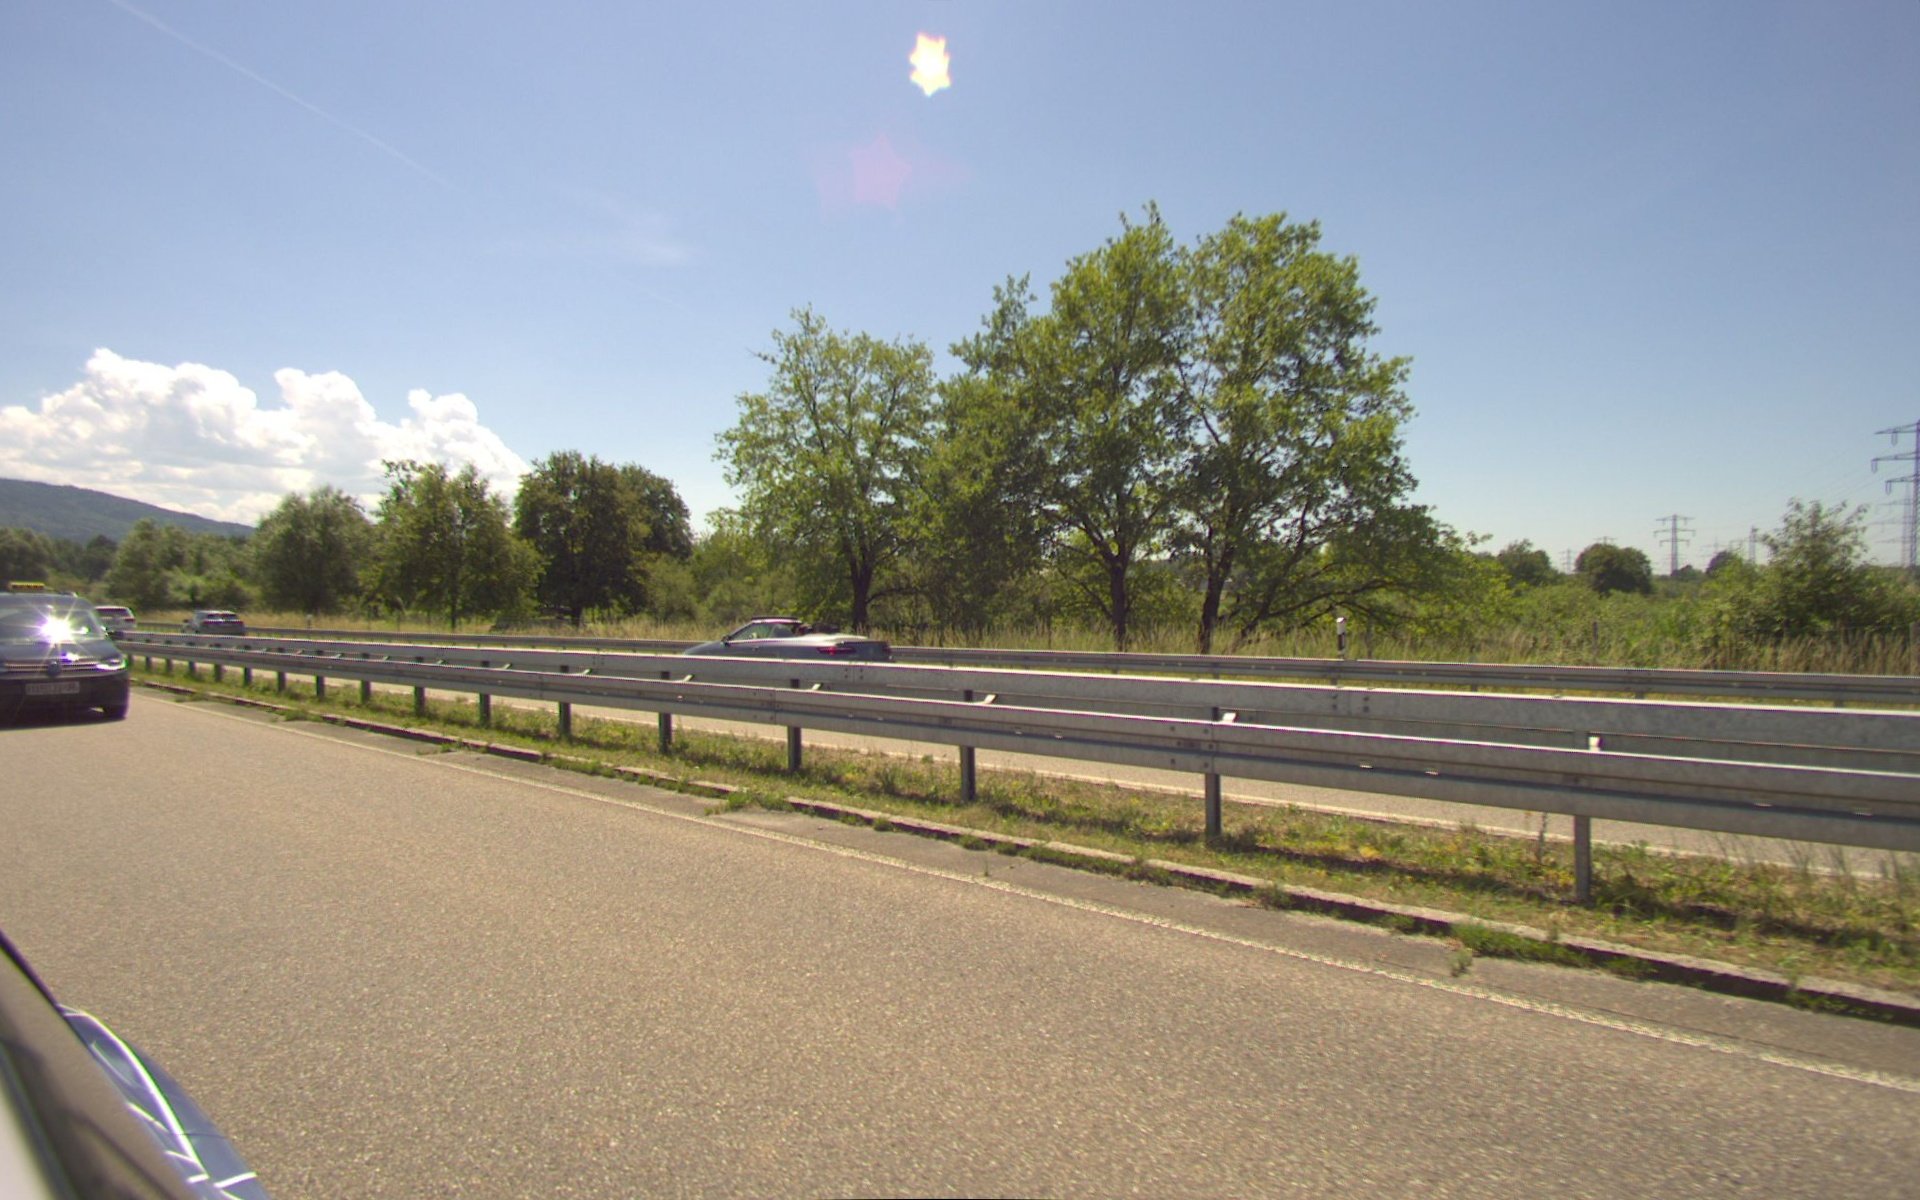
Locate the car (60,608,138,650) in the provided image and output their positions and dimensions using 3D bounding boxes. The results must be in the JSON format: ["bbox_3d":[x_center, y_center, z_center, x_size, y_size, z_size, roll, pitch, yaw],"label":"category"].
[{"bbox_3d":[-39.616,1.299,46.535,4.965,1.821,1.959,-1,-1,40],"label":"car"}]

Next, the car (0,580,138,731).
[{"bbox_3d":[-13.987,0.743,14.904,5.567,1.901,1.836,-1,-1,39],"label":"car"}]

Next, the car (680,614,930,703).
[{"bbox_3d":[-2.876,0.971,18.118,4.655,1.395,1.904,-1,-2,41],"label":"car"}]

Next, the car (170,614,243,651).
[{"bbox_3d":[-34.428,1.458,46.200,4.168,1.630,1.823,-1,-1,40],"label":"car"}]
